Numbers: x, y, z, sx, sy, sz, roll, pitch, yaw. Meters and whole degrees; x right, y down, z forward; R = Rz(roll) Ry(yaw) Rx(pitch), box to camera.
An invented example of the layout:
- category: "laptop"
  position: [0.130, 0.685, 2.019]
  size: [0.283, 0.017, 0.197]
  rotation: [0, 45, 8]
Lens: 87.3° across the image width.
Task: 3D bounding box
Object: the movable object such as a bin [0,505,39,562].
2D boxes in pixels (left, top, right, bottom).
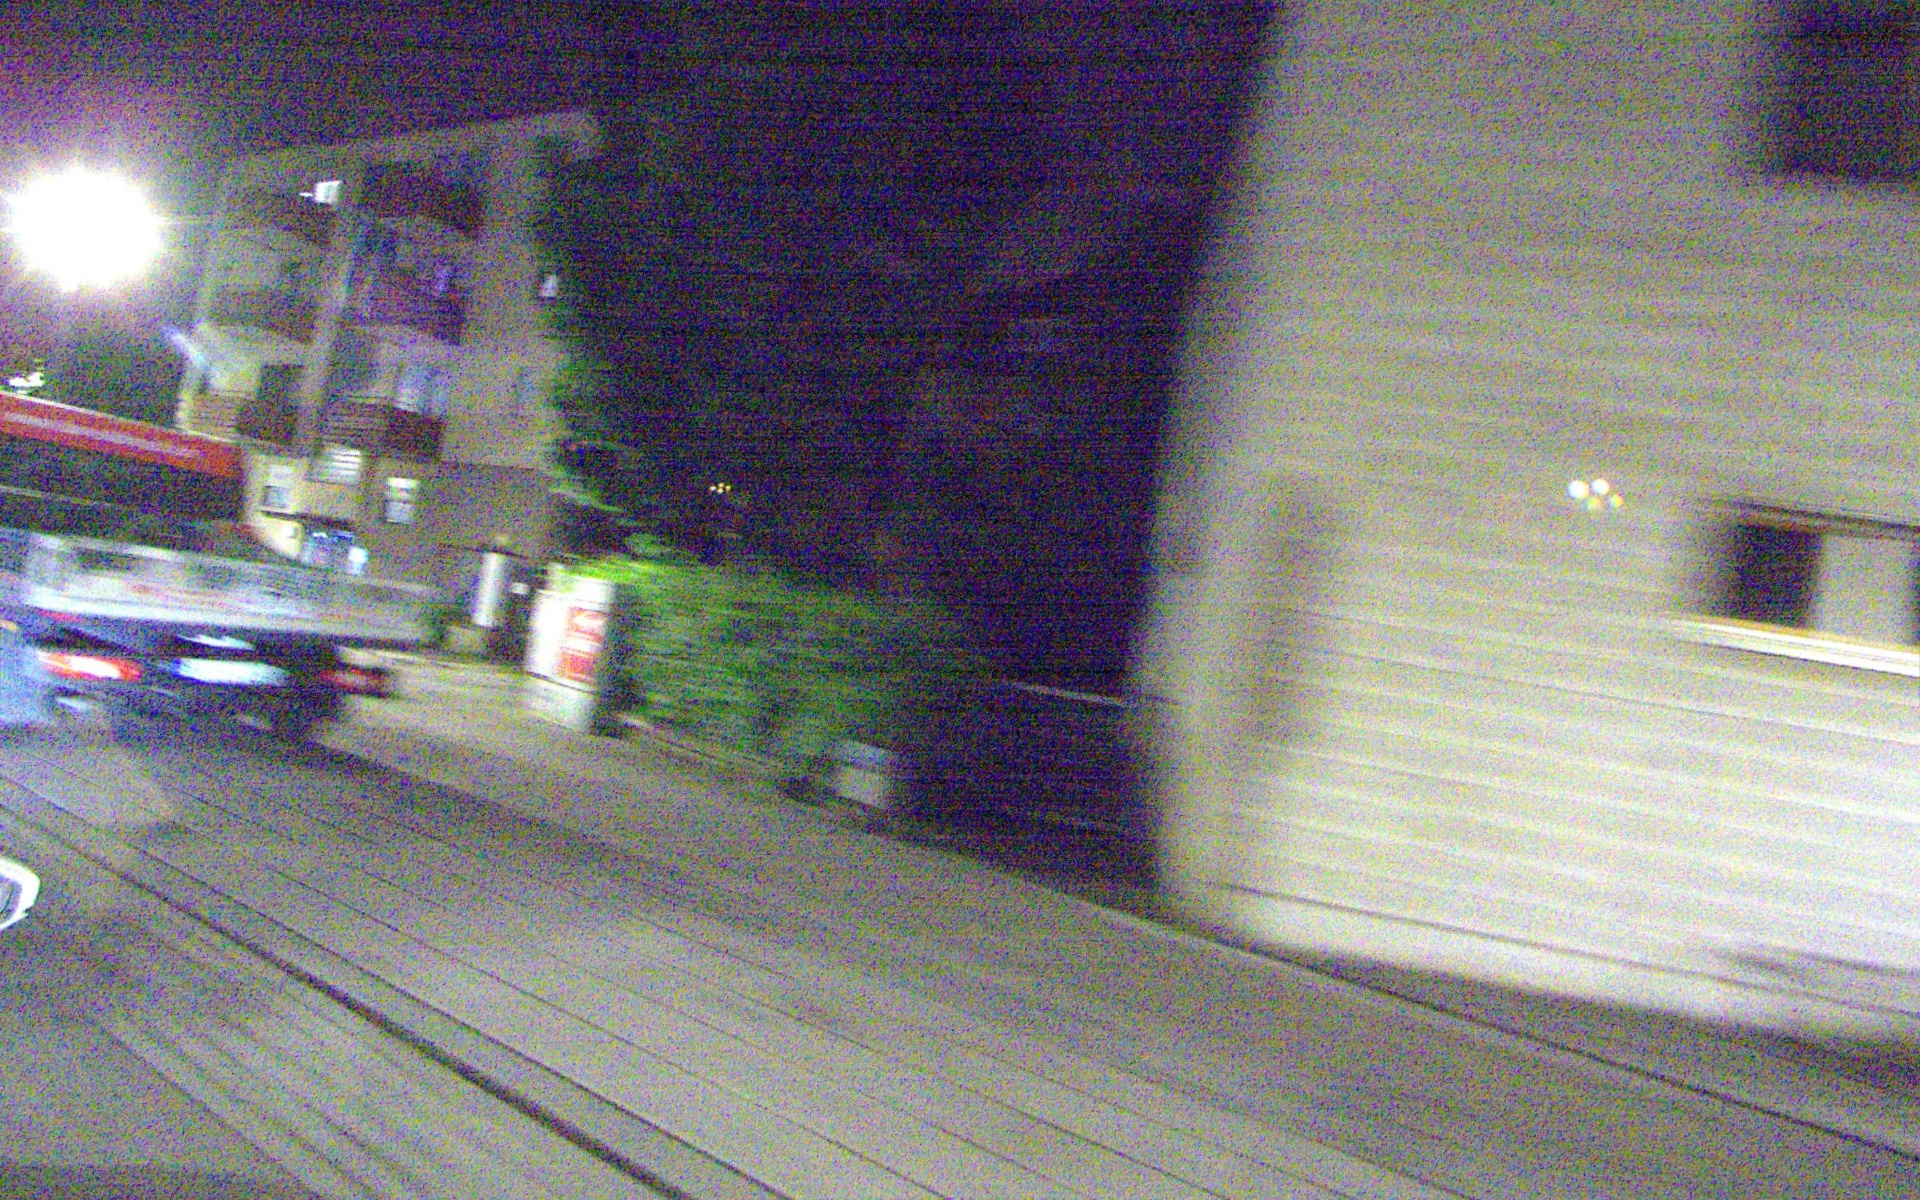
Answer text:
- category: "movable object such as a bin"
  position: [-26.325, -1.881, 27.500]
  size: [1.098, 1.435, 1.265]
  rotation: [7, -3, 27]

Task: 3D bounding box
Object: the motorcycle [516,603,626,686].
- category: "motorcycle"
  position: [-6.487, 0.775, 16.867]
  size: [0.551, 1.198, 1.636]
  rotation: [7, -3, 26]

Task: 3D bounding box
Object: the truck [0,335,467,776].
- category: "truck"
  position: [-6.728, -0.381, 7.768]
  size: [5.685, 2.337, 2.342]
  rotation: [7, -3, 32]
